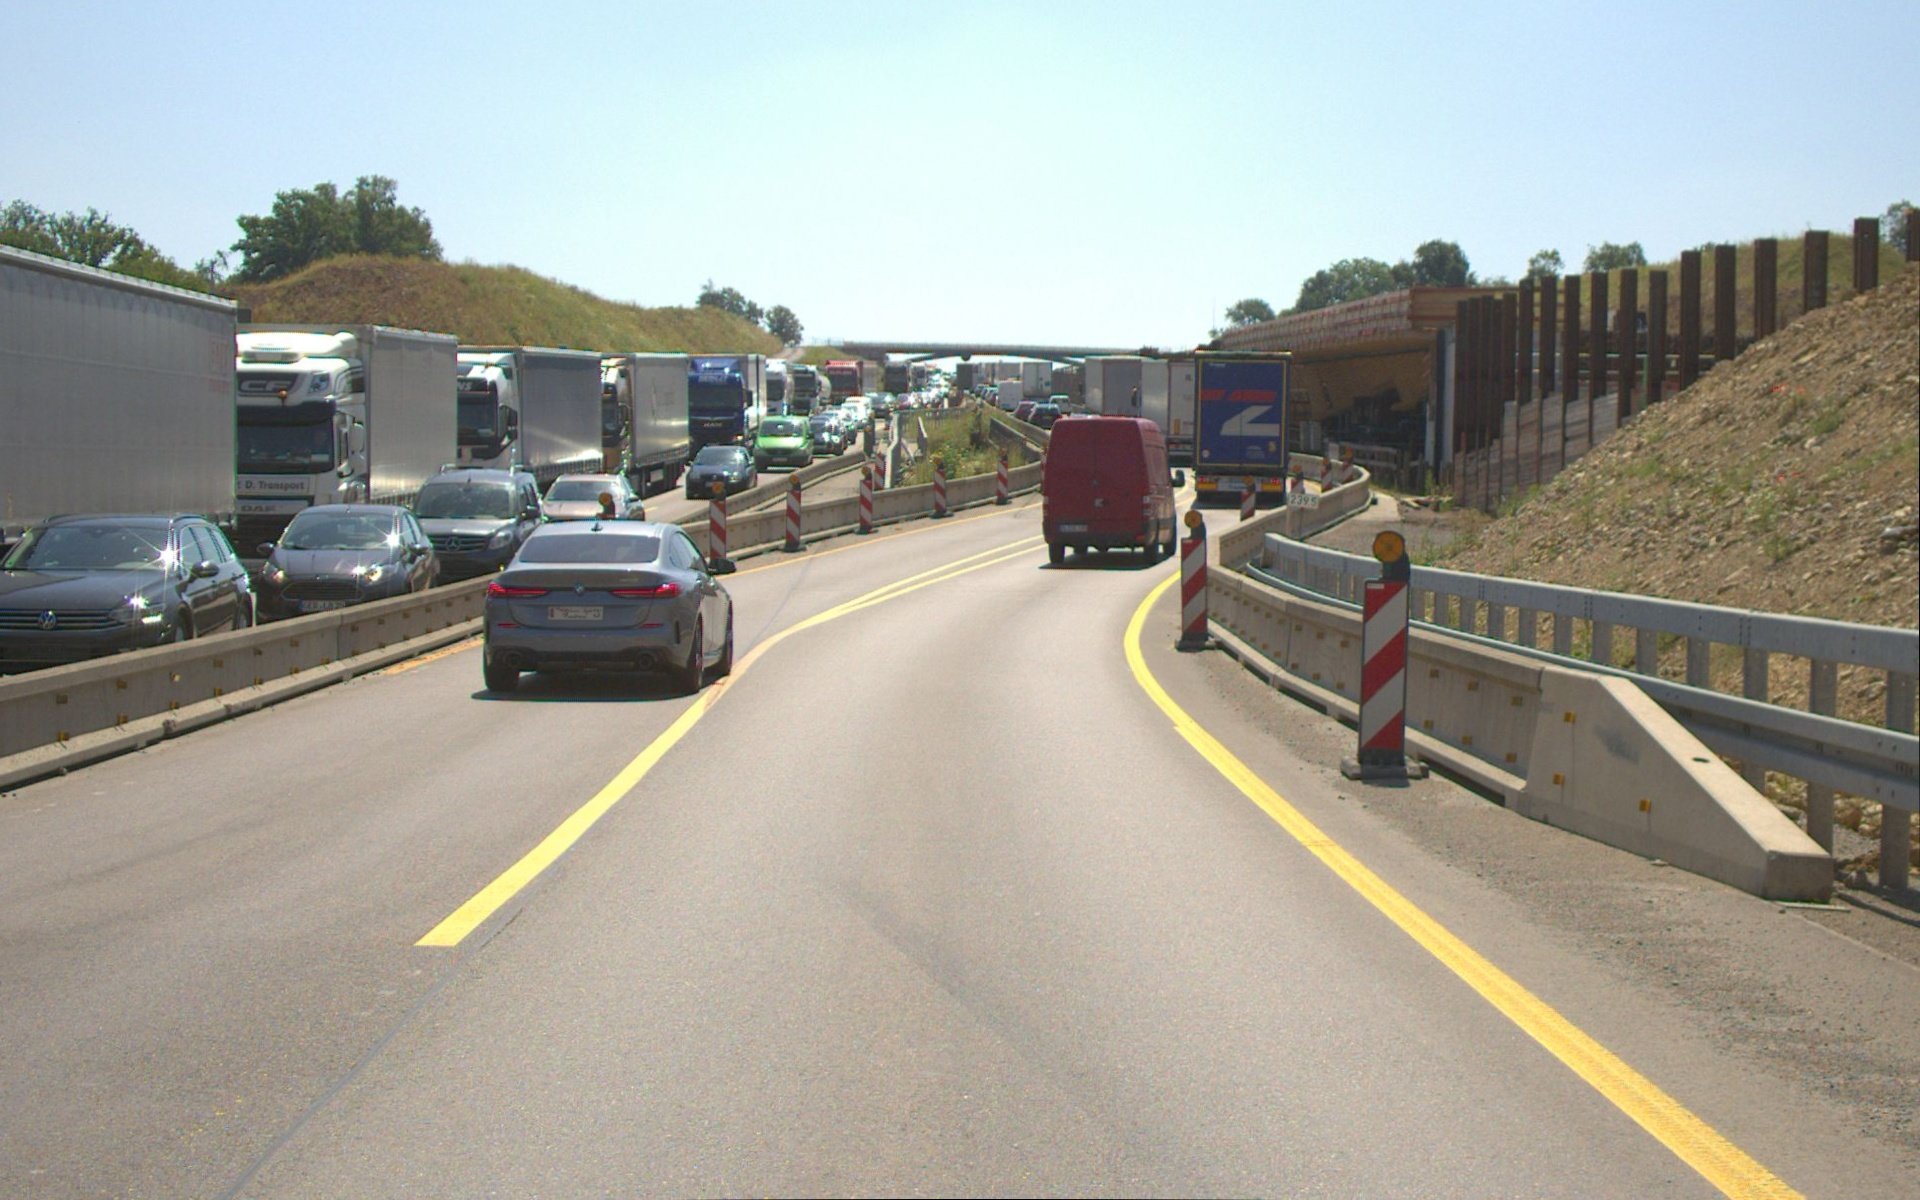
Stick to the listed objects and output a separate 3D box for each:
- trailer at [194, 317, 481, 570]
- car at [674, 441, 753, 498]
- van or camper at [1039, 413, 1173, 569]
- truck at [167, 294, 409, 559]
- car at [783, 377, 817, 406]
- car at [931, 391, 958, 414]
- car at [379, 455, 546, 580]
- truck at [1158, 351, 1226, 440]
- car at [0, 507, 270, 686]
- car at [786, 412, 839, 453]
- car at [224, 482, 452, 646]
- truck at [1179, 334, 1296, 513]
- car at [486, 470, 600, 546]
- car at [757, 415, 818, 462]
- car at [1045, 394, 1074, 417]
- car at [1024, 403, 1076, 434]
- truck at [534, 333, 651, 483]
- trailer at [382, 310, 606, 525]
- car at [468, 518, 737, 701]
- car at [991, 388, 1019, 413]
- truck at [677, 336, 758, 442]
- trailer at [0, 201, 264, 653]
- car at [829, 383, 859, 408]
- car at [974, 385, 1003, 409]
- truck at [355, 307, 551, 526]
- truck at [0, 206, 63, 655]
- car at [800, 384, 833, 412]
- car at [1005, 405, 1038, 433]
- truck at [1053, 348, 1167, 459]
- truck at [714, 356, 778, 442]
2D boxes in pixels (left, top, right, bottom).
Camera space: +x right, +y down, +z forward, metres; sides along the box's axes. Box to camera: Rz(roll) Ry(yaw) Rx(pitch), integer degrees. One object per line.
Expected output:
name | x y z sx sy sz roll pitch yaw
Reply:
trailer | -10.482 -2.489 59.138 2.783 3.918 11.008 0 0 1
car | -7.020 -3.709 98.187 1.952 1.525 4.268 0 1 0
van or camper | 2.714 -1.963 62.867 2.030 2.735 4.514 1 1 7
truck | -10.462 -2.618 54.043 2.782 3.856 5.461 0 0 -1
car | -9.612 -12.529 206.964 1.952 1.525 4.268 0 1 -1
car | -1.153 -14.285 249.093 1.952 1.525 4.268 0 1 0
car | -7.342 -1.217 51.047 1.993 1.777 4.000 0 1 -1
truck | 8.831 -7.769 131.273 2.342 3.181 5.016 0 1 1
car | -7.320 -0.072 29.456 1.902 1.372 4.547 -2 1 -1
car | -5.889 -6.680 137.401 1.952 1.525 4.268 0 1 0
car | -7.093 -0.430 39.592 1.993 1.777 4.000 0 1 -1
truck | 7.723 -4.794 95.307 3.021 4.677 6.931 -1 1 5
car | -8.029 -1.762 66.457 1.747 1.404 4.000 0 1 0
car | -6.015 -5.635 120.343 1.952 1.525 4.268 0 1 0
car | 7.294 -14.248 251.503 1.952 1.525 4.268 0 1 0
car | 4.886 -9.883 187.260 2.288 1.525 4.359 0 1 -7
truck | -10.022 -5.180 94.396 2.683 3.826 7.387 0 1 -2
trailer | -10.484 -4.004 78.823 3.042 4.536 12.127 0 1 2
car | -3.028 0.070 30.008 1.851 1.447 4.742 1 0 0
car | 3.364 -14.930 257.378 1.952 1.635 4.268 0 1 0
truck | -9.466 -8.206 134.755 2.887 3.826 8.003 0 1 -2
trailer | -10.333 -1.742 38.391 2.595 4.242 12.468 0 1 0
car | -8.031 -14.159 238.159 1.952 1.525 4.268 0 1 -1
car | 1.978 -14.205 240.628 1.952 1.525 4.268 0 1 0
truck | -10.730 -3.850 73.280 3.052 4.465 5.980 0 2 3
truck | -10.330 -1.569 31.184 2.551 4.216 6.530 0 1 1
car | -8.889 -12.547 213.644 1.952 1.525 4.268 0 1 -1
car | 3.853 -11.295 215.071 1.952 1.525 4.267 0 0 0
truck | 7.563 -9.942 176.162 5.160 4.980 13.876 -2 1 0
truck | -10.314 -9.653 166.203 2.887 3.826 8.003 0 1 -2
